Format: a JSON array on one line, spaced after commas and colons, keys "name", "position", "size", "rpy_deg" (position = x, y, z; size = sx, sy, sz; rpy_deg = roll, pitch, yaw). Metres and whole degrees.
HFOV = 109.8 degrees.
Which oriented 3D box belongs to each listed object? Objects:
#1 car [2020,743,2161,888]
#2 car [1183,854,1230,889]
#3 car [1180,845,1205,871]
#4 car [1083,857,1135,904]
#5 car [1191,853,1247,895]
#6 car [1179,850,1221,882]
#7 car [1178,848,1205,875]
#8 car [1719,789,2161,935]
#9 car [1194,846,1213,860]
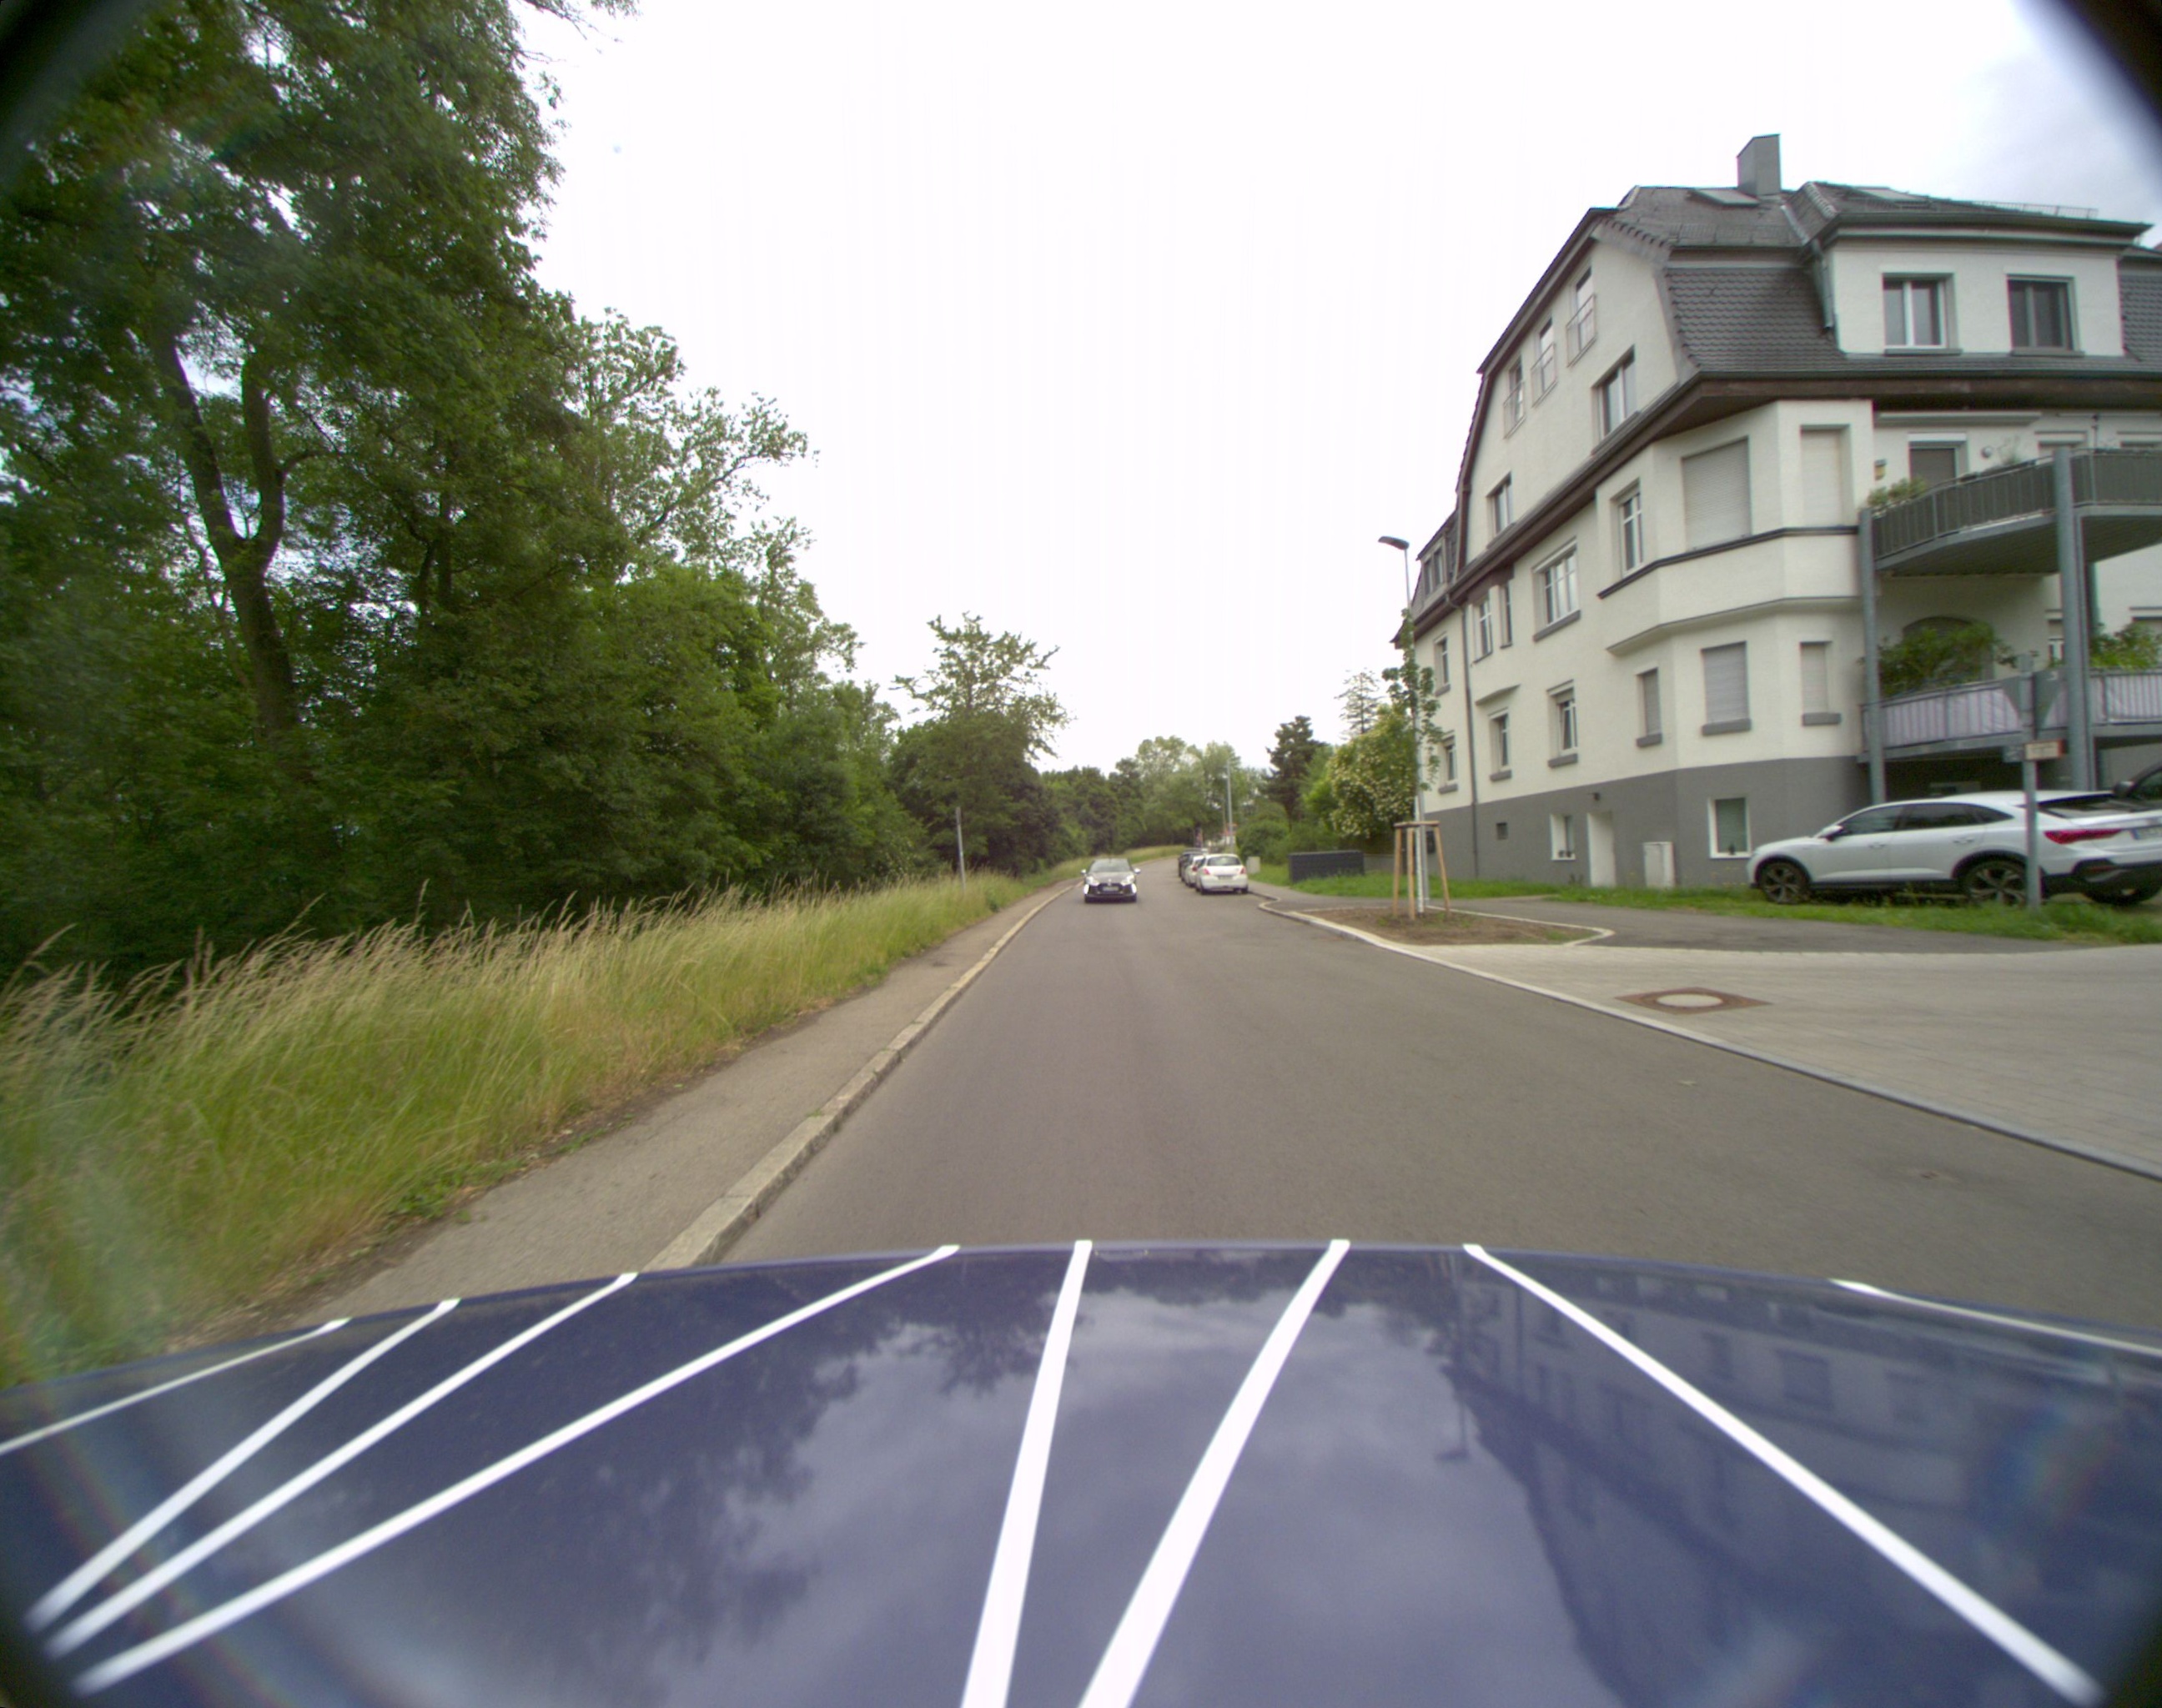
[{"name": "car", "position": [16.175, -0.602, 9.843], "size": [1.911, 2.039, 4.761], "rpy_deg": [-5, 1, -4]}, {"name": "car", "position": [5.715, 0.737, 35.012], "size": [1.728, 1.382, 4.727], "rpy_deg": [-1, 1, 4]}, {"name": "car", "position": [8.420, 0.262, 57.408], "size": [1.799, 1.790, 4.066], "rpy_deg": [-1, 1, 8]}, {"name": "car", "position": [1.022, 0.830, 25.676], "size": [1.619, 1.460, 4.001], "rpy_deg": [0, 0, 4]}, {"name": "car", "position": [5.249, 0.723, 29.251], "size": [1.646, 1.461, 4.071], "rpy_deg": [-1, 1, 4]}, {"name": "car", "position": [6.253, 0.608, 40.297], "size": [1.730, 1.564, 4.816], "rpy_deg": [0, 0, 3]}, {"name": "car", "position": [7.127, 0.452, 49.093], "size": [1.665, 1.573, 4.079], "rpy_deg": [-1, 1, 8]}, {"name": "car", "position": [12.194, 0.024, 10.918], "size": [1.911, 1.524, 4.595], "rpy_deg": [-5, 1, -4]}, {"name": "car", "position": [13.028, -0.118, 80.634], "size": [1.735, 1.420, 3.460], "rpy_deg": [-1, 1, 12]}]
